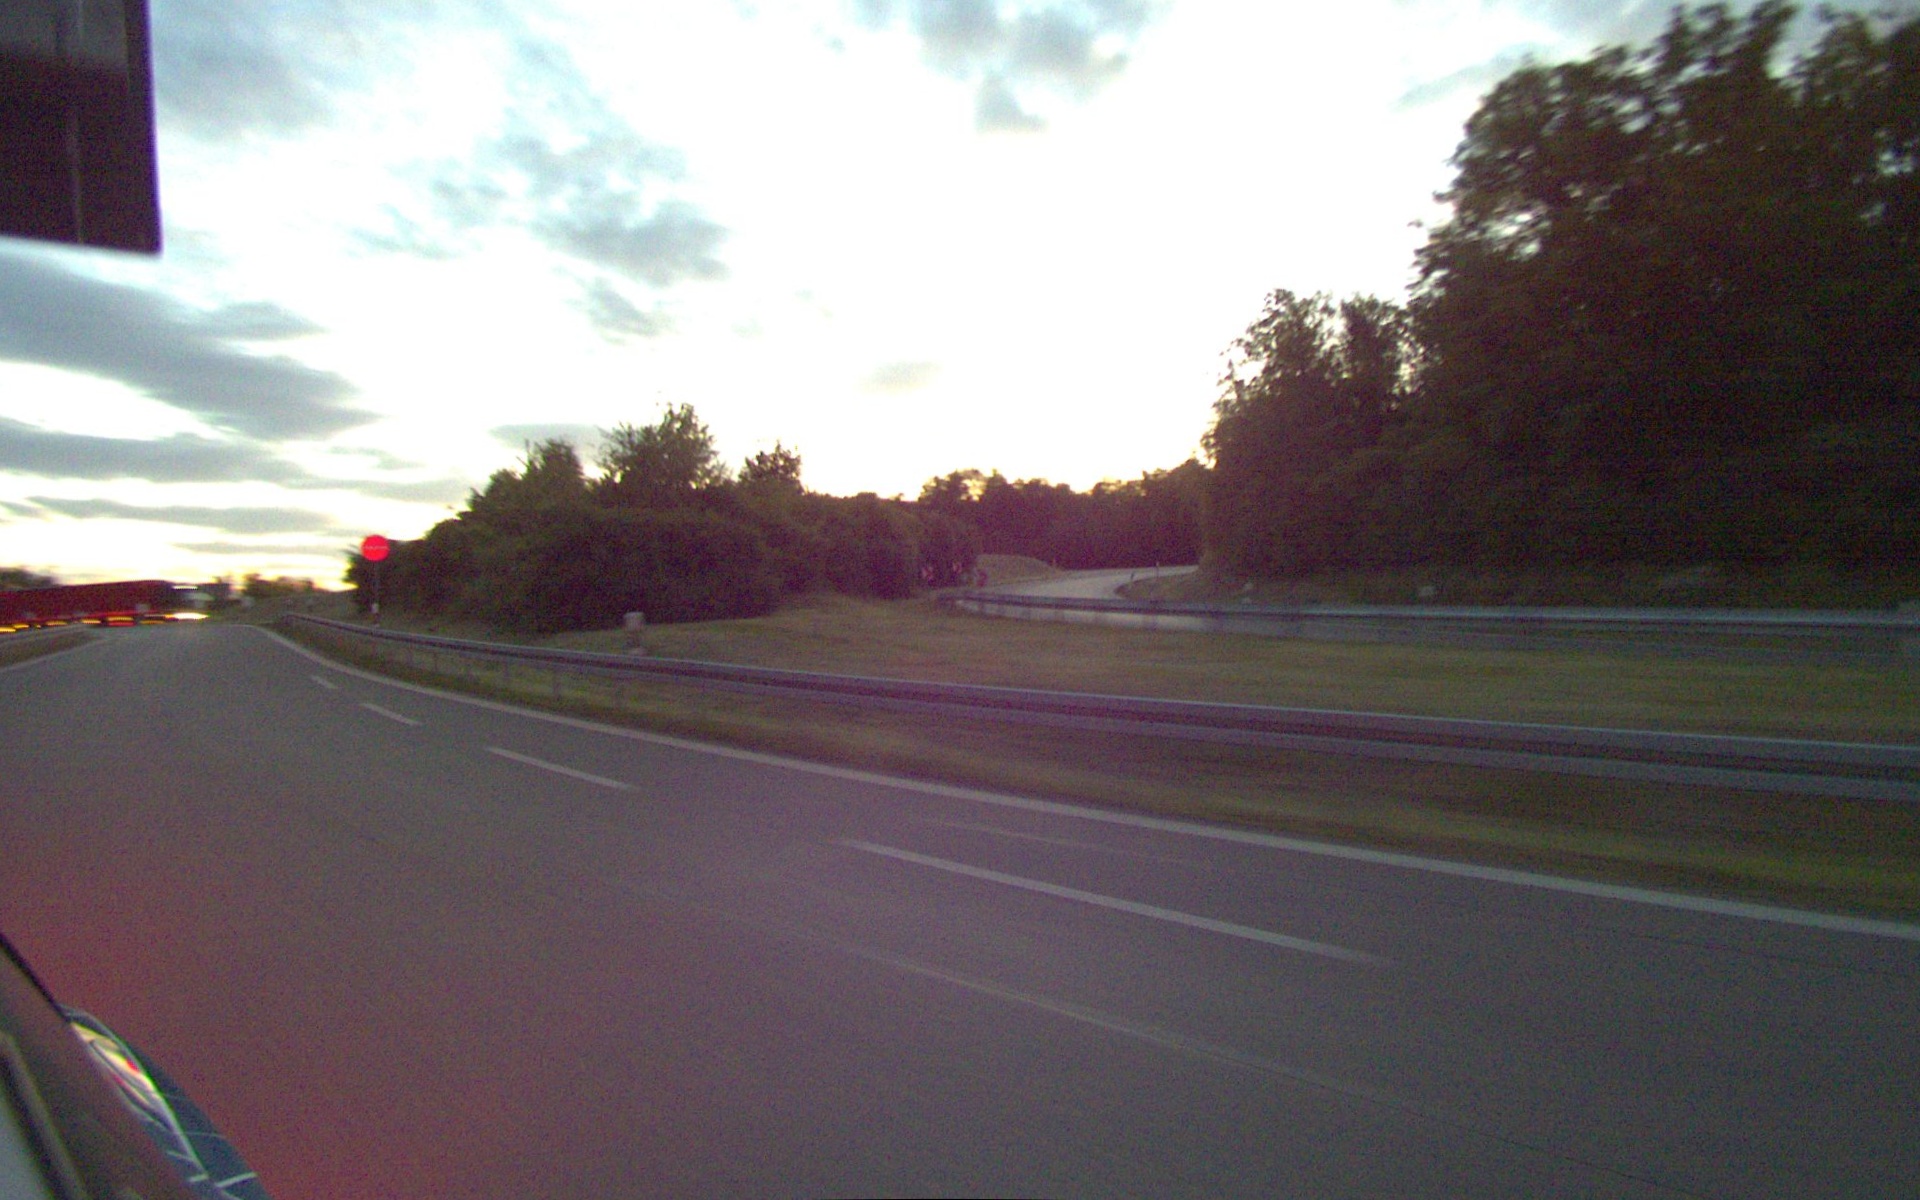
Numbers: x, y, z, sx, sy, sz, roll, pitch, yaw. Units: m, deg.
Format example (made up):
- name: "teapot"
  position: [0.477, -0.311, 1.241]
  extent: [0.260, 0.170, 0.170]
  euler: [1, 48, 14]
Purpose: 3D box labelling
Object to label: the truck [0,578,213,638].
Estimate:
- name: "truck"
  position: [-74.214, 0.651, 87.523]
  extent: [16.767, 4.703, 2.525]
  euler: [-1, 1, -3]
